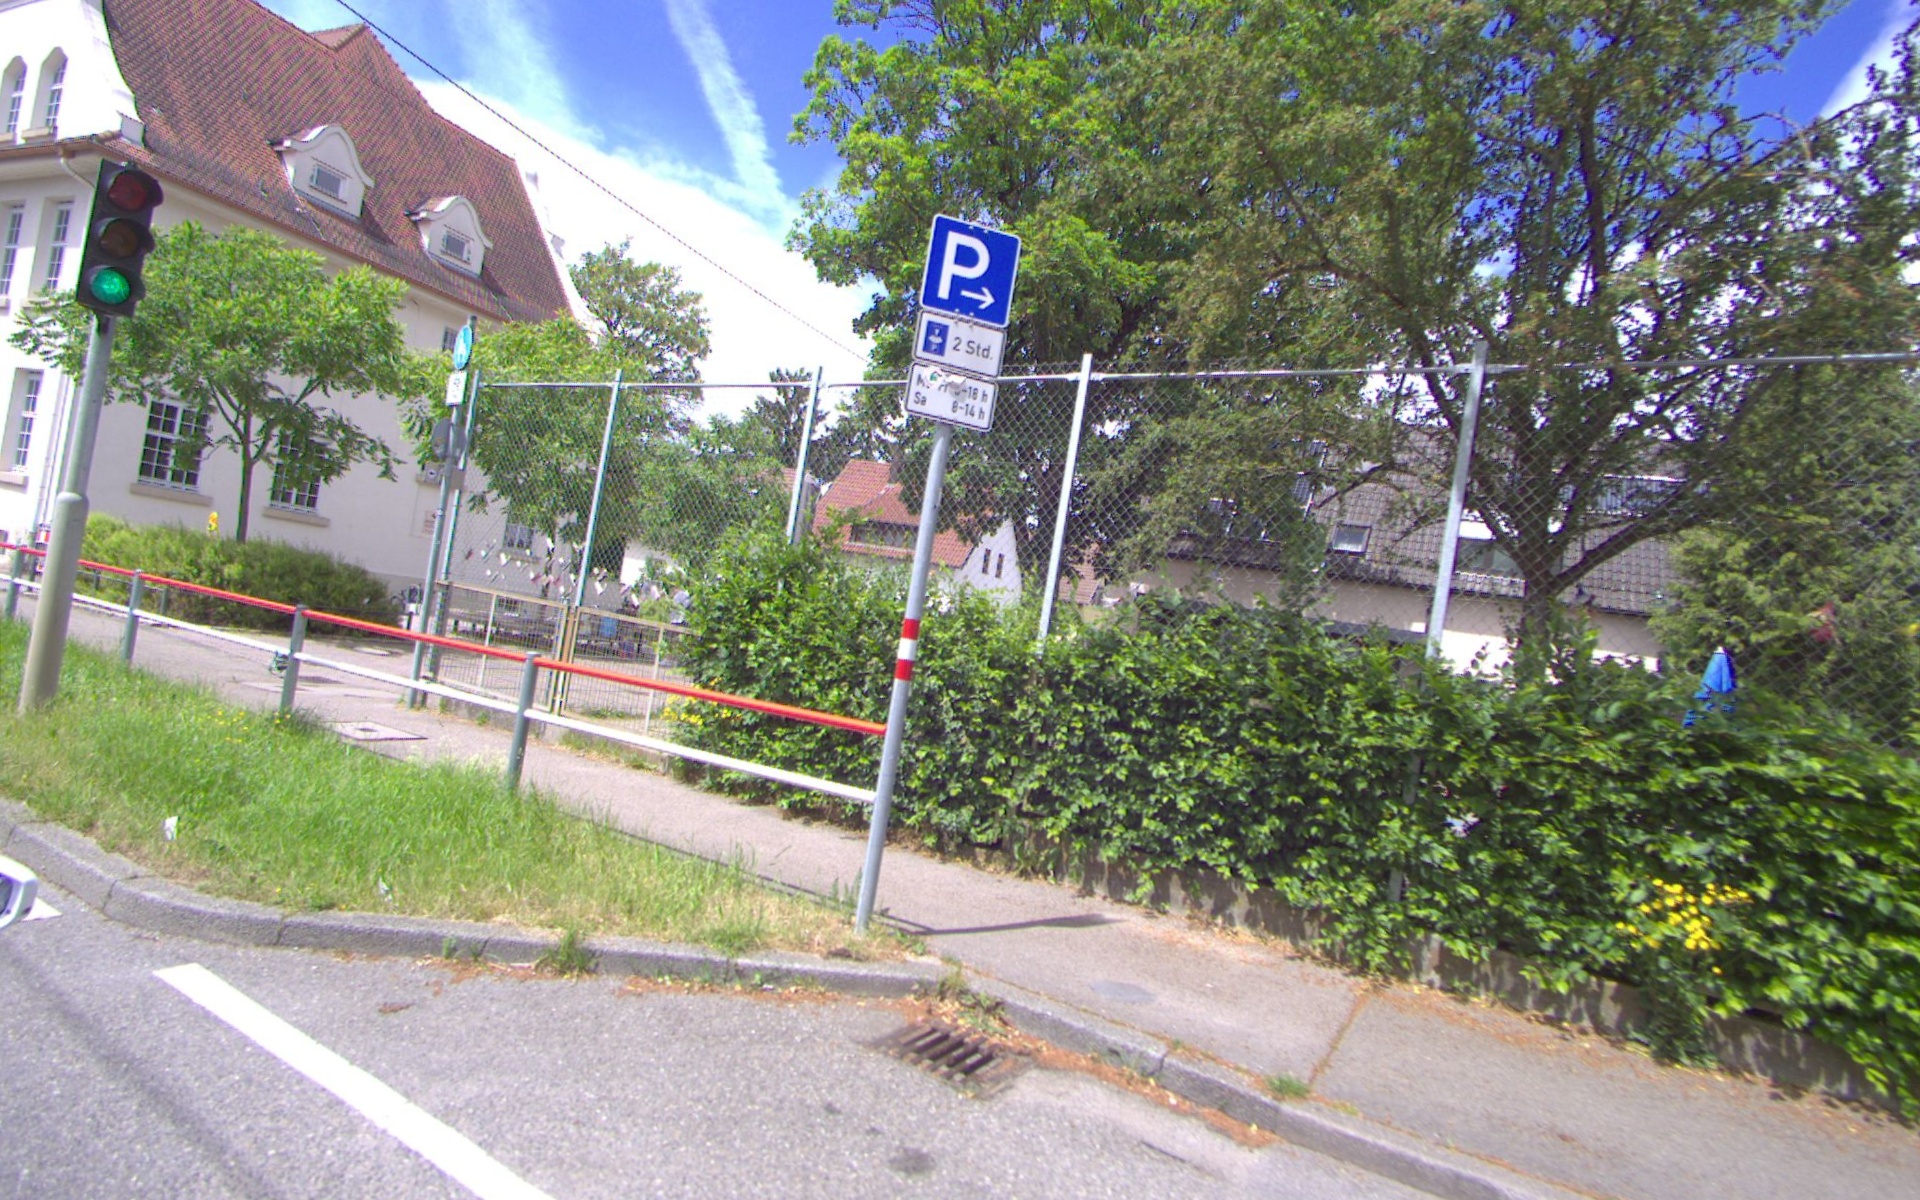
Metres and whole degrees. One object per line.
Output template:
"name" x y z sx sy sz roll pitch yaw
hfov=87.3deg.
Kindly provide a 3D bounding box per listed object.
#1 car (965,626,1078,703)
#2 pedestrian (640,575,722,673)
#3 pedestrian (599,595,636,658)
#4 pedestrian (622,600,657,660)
"car" 2.108 2.206 33.376 1.965 2.036 3.999 10 -1 28
"pedestrian" -5.868 0.507 21.185 1.126 1.839 0.751 11 0 21
"pedestrian" -7.140 0.563 20.953 0.453 1.244 0.406 7 -1 5
"pedestrian" -6.942 0.657 21.817 0.453 1.244 0.406 7 -1 5
